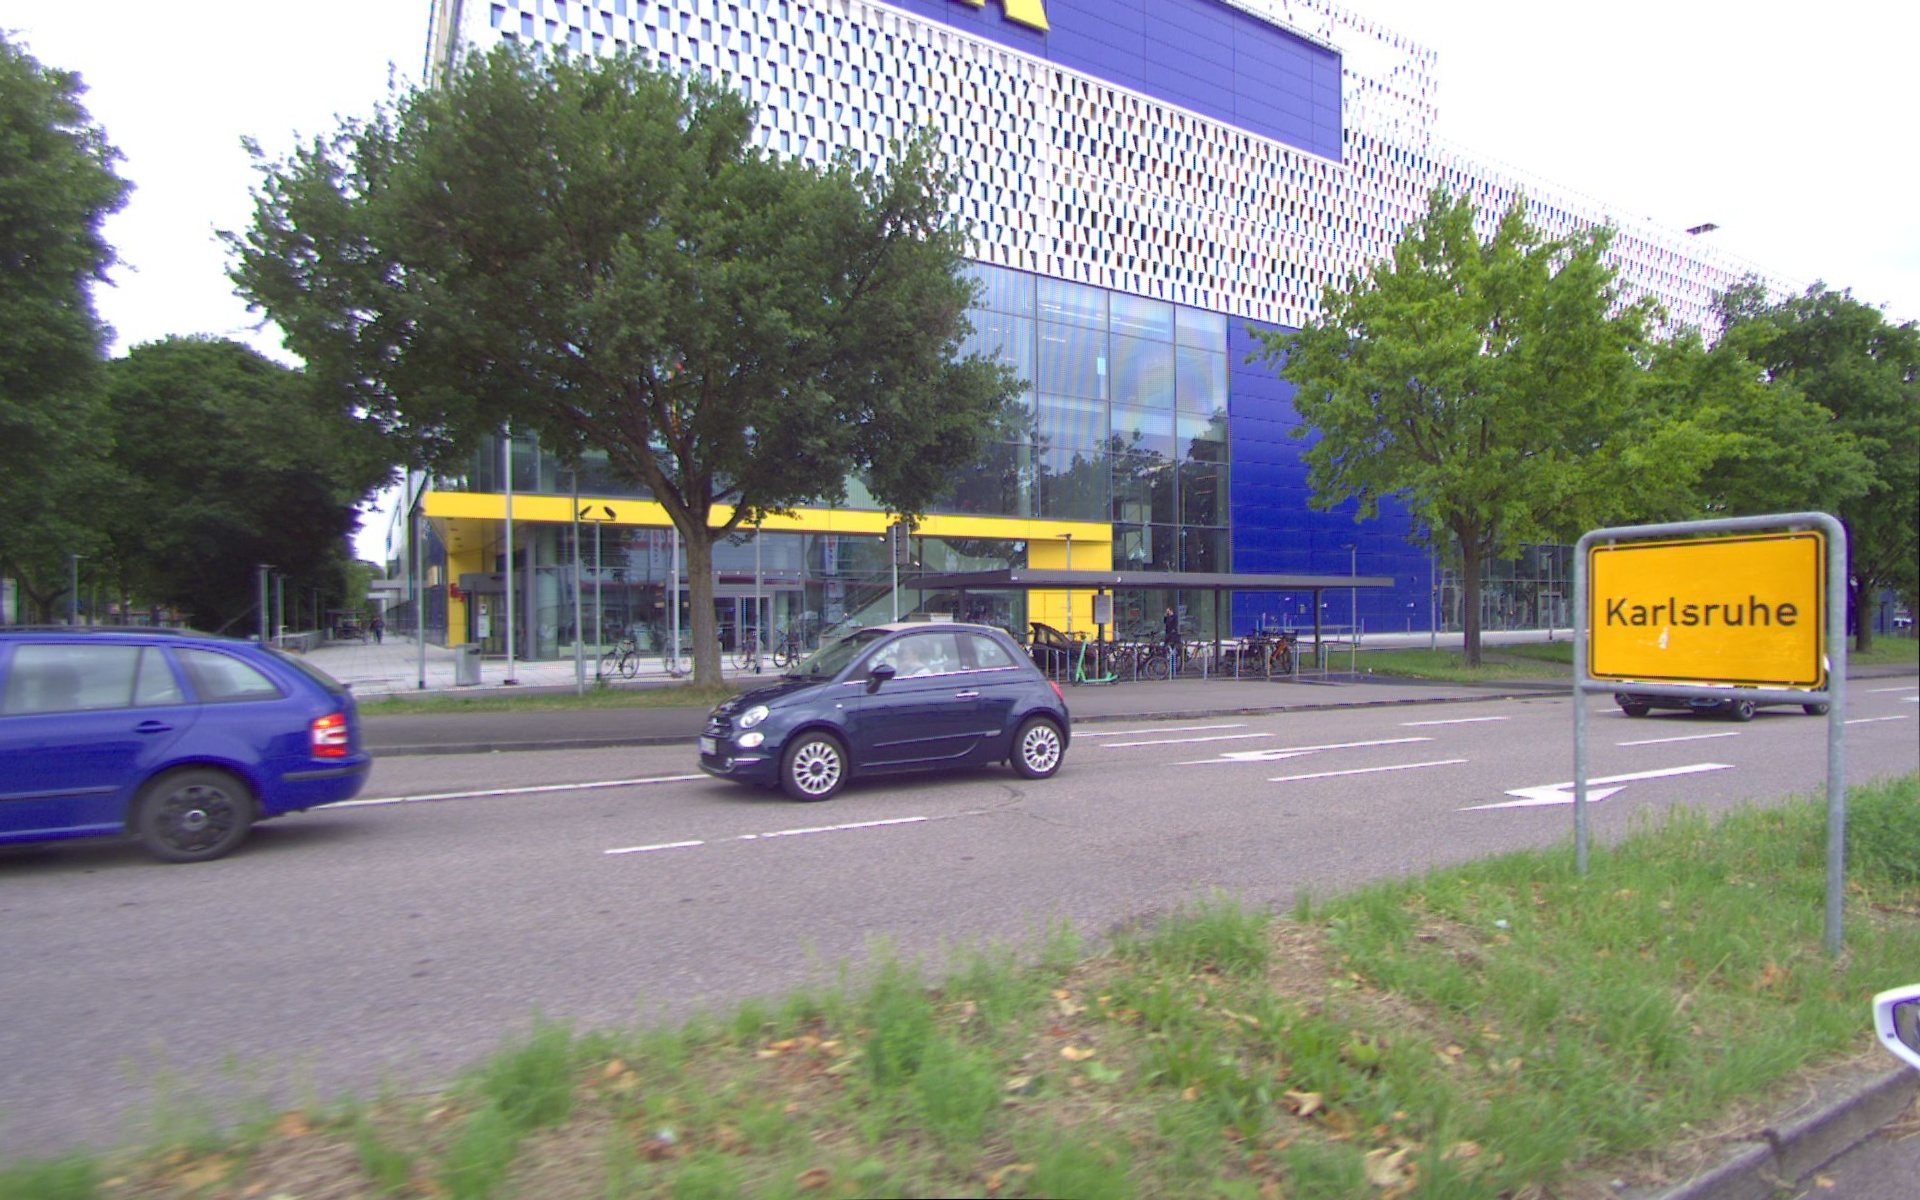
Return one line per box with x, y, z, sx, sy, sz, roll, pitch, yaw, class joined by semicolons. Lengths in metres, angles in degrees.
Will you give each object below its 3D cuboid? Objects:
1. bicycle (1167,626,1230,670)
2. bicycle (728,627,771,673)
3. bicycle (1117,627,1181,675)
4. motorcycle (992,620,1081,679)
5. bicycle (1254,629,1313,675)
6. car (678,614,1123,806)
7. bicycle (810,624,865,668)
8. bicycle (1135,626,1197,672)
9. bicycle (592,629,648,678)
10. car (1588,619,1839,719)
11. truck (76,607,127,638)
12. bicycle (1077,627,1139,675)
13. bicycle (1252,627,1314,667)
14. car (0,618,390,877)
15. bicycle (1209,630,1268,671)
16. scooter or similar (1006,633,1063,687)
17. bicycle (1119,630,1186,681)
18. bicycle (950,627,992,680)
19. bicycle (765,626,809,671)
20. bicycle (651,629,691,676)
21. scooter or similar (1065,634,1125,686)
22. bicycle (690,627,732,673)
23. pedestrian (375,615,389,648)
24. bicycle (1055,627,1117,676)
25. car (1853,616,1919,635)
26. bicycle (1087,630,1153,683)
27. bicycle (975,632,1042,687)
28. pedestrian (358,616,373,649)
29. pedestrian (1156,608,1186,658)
6.988;1.382;29.479;0.586;1.172;2.007;1;1;-29;bicycle
-6.039;1.399;28.676;0.587;1.172;2.005;0;1;-30;bicycle
5.209;1.391;27.775;0.586;1.172;2.007;1;1;-29;bicycle
1.978;1.273;26.408;0.794;1.373;2.470;0;1;-41;motorcycle
9.212;1.470;28.666;0.584;1.172;2.016;1;1;-14;bicycle
-0.507;0.933;9.655;3.990;1.517;1.595;1;-3;-30;car
-3.673;1.354;29.967;0.589;1.172;1.997;0;1;-42;bicycle
5.883;1.378;28.819;0.586;1.172;2.007;1;1;-29;bicycle
-9.082;1.414;26.823;1.995;1.172;0.590;2;1;45;bicycle
13.039;1.165;17.366;4.131;1.538;1.923;1;-4;-29;car
-108.770;2.925;127.407;3.225;3.711;9.814;2;-3;-31;truck
4.019;1.374;27.433;0.586;1.172;2.007;1;1;-29;bicycle
10.007;1.438;31.219;0.586;1.137;2.008;1;1;-27;bicycle
-5.959;0.867;6.317;4.095;1.463;1.595;2;-3;-30;car
8.265;1.482;29.855;0.586;1.096;1.801;1;1;-29;bicycle
1.739;1.398;23.390;1.266;1.200;0.359;1;1;8;scooter or similar
4.887;1.397;25.629;0.586;1.172;1.885;1;1;-29;bicycle
0.258;1.313;25.065;0.583;1.172;2.017;1;1;-13;bicycle
-5.061;1.388;29.226;0.587;1.172;2.005;0;1;-30;bicycle
-7.984;1.429;27.681;0.587;1.172;2.005;0;1;-30;bicycle
3.128;1.382;23.258;1.322;1.163;0.425;1;-1;2;scooter or similar
-6.989;1.375;28.137;0.587;1.172;2.005;0;1;-30;bicycle
-36.840;2.011;64.056;0.733;2.040;0.663;-2;1;-30;pedestrian
3.381;1.360;27.142;0.586;1.172;2.007;1;1;-29;bicycle
103.783;2.849;112.617;1.859;1.990;5.104;-4;1;-32;car
3.979;1.392;25.066;0.586;1.172;1.885;1;1;-29;bicycle
1.082;1.349;23.128;0.586;1.172;2.007;1;-1;-29;bicycle
-37.627;2.034;63.598;0.733;2.040;0.663;-2;1;-30;pedestrian
7.468;1.154;35.506;0.798;1.769;0.674;0;0;-30;pedestrian
